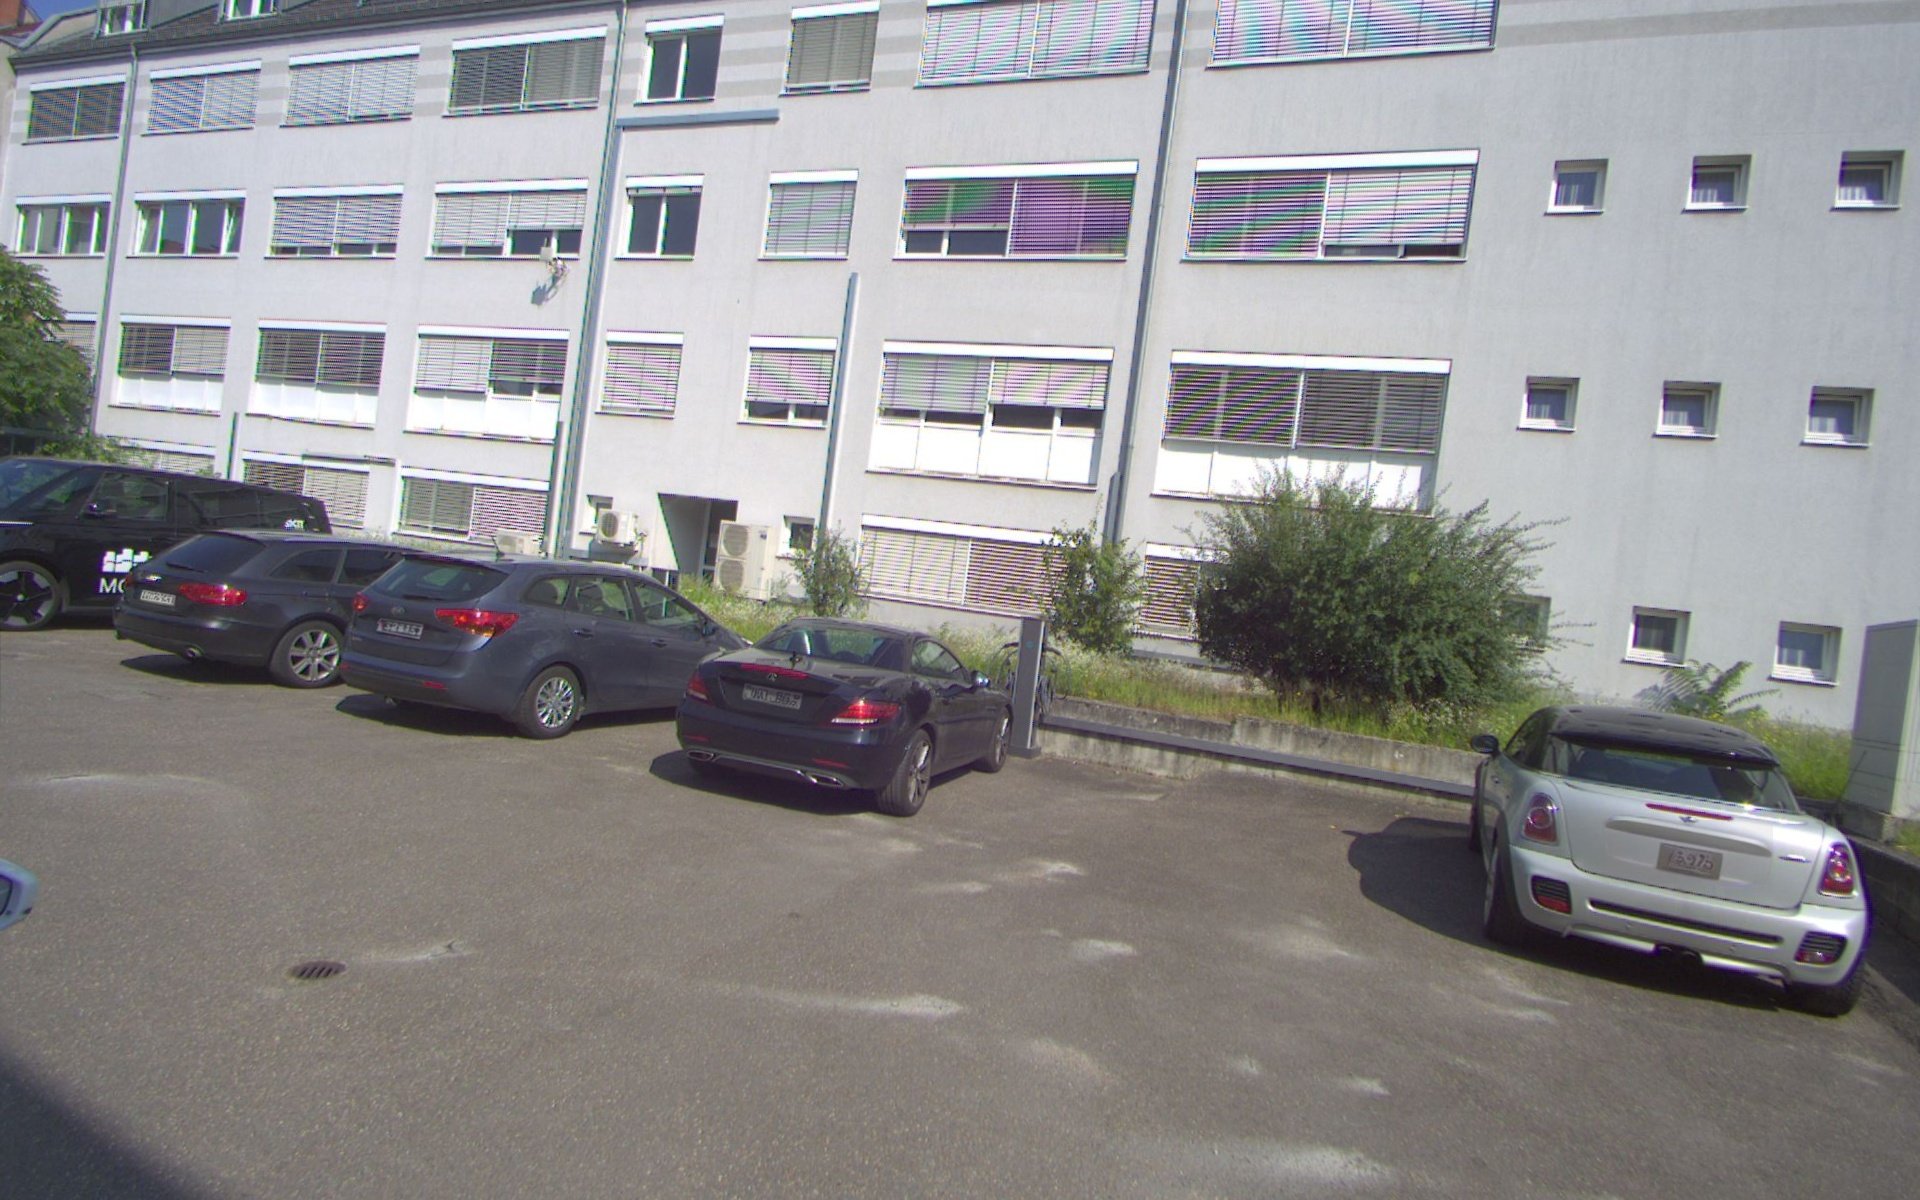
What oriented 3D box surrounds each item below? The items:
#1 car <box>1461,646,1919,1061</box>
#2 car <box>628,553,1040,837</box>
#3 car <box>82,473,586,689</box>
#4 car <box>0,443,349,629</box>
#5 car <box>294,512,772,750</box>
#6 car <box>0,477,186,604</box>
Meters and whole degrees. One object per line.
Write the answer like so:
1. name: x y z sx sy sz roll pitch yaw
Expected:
1. car: 4.447 1.271 6.658 1.770 1.566 3.622 7 3 25
2. car: -0.745 0.694 8.430 1.861 1.608 3.813 7 -1 17
3. car: -6.221 -0.060 10.615 1.739 1.712 4.129 7 -1 24
4. car: -10.082 -0.700 12.032 1.848 1.816 4.516 6 0 18
5. car: -3.696 0.324 9.525 1.845 1.608 3.875 7 -1 22
6. car: -12.755 -0.862 13.030 1.741 1.500 3.945 6 0 18
